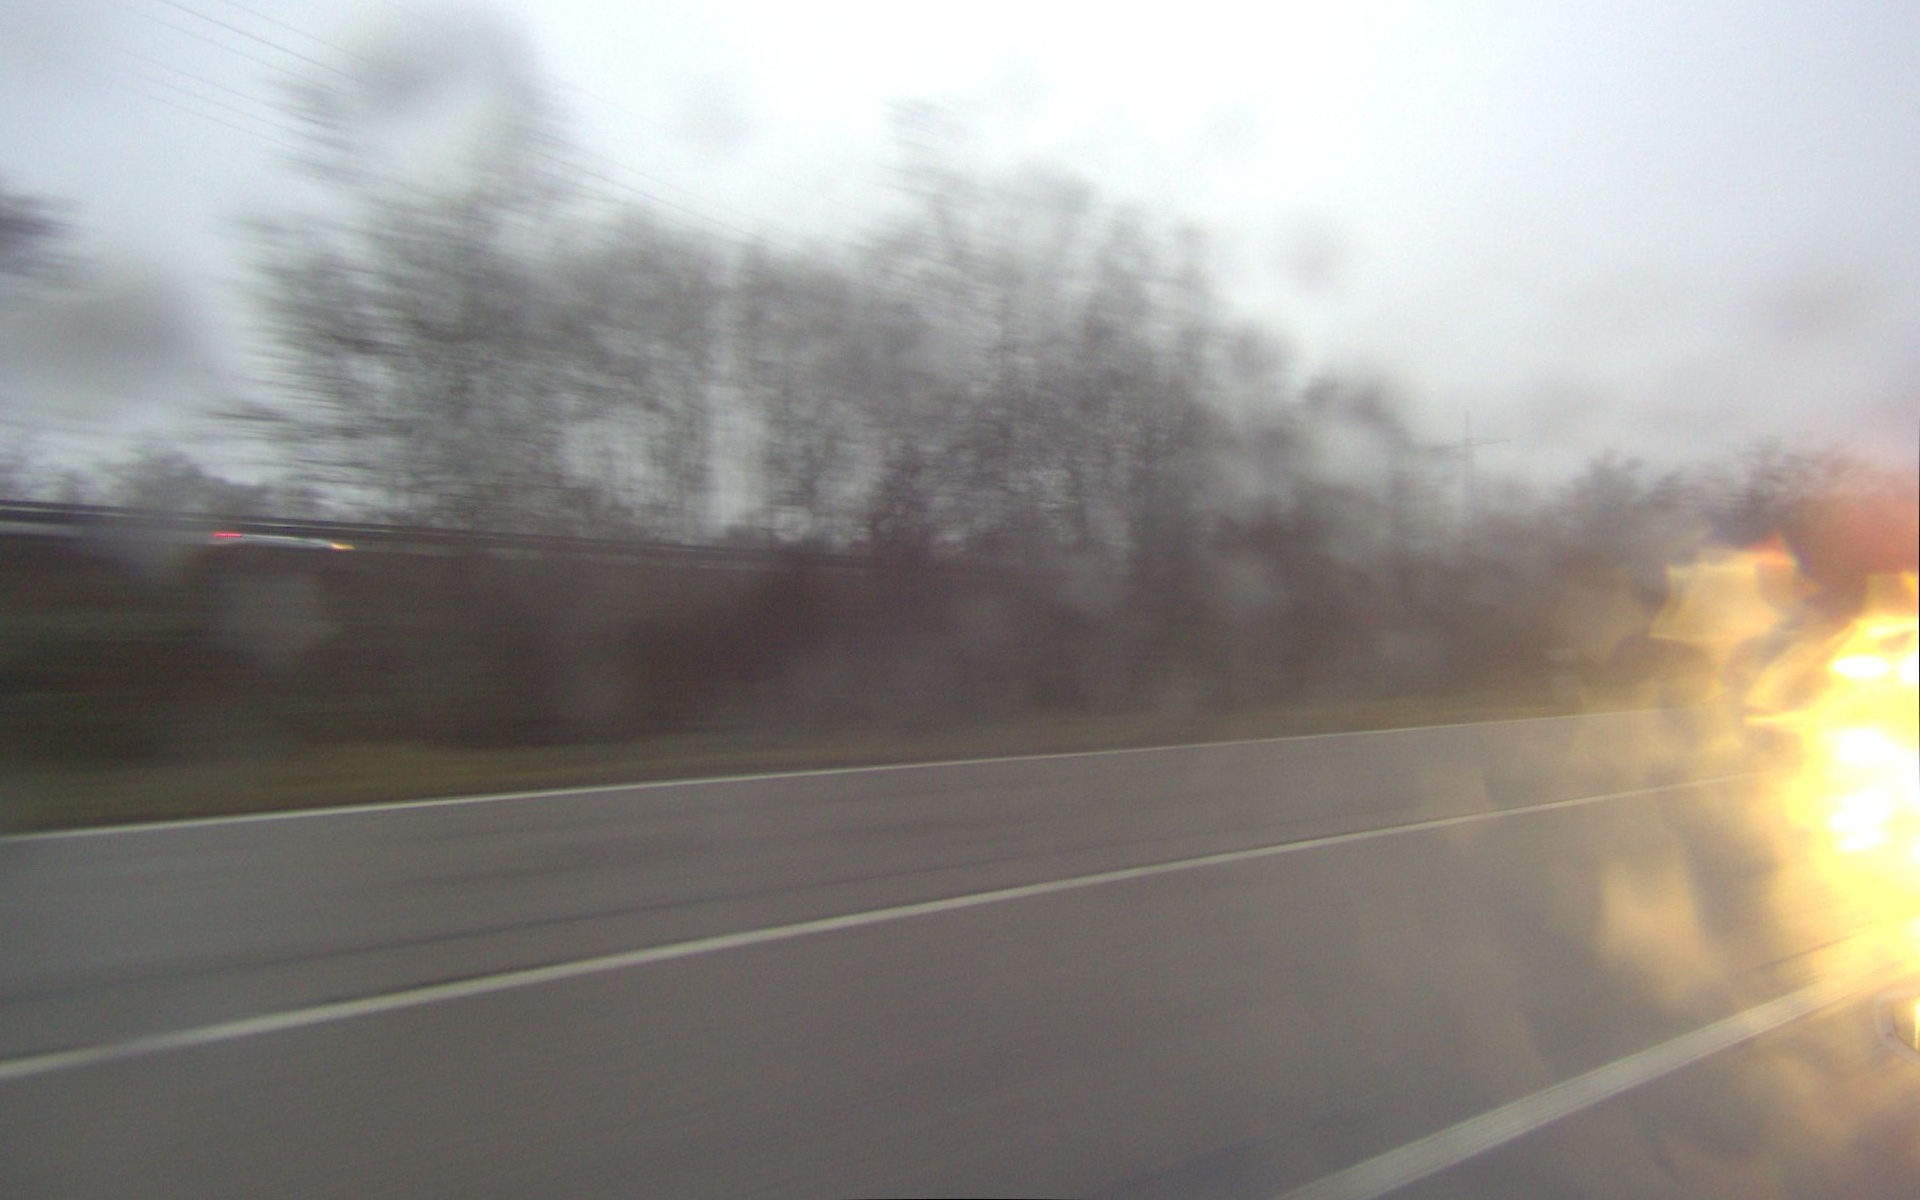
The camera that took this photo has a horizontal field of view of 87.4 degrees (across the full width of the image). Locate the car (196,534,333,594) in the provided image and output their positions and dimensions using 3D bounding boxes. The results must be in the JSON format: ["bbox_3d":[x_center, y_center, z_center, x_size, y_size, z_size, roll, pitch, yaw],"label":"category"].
[{"bbox_3d":[-26.240,-1.331,37.955,1.860,2.040,3.975,3,1,45],"label":"car"}]

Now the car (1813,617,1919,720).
[{"bbox_3d":[17.536,1.199,18.085,4.669,1.670,1.983,2,0,-32],"label":"car"}]
